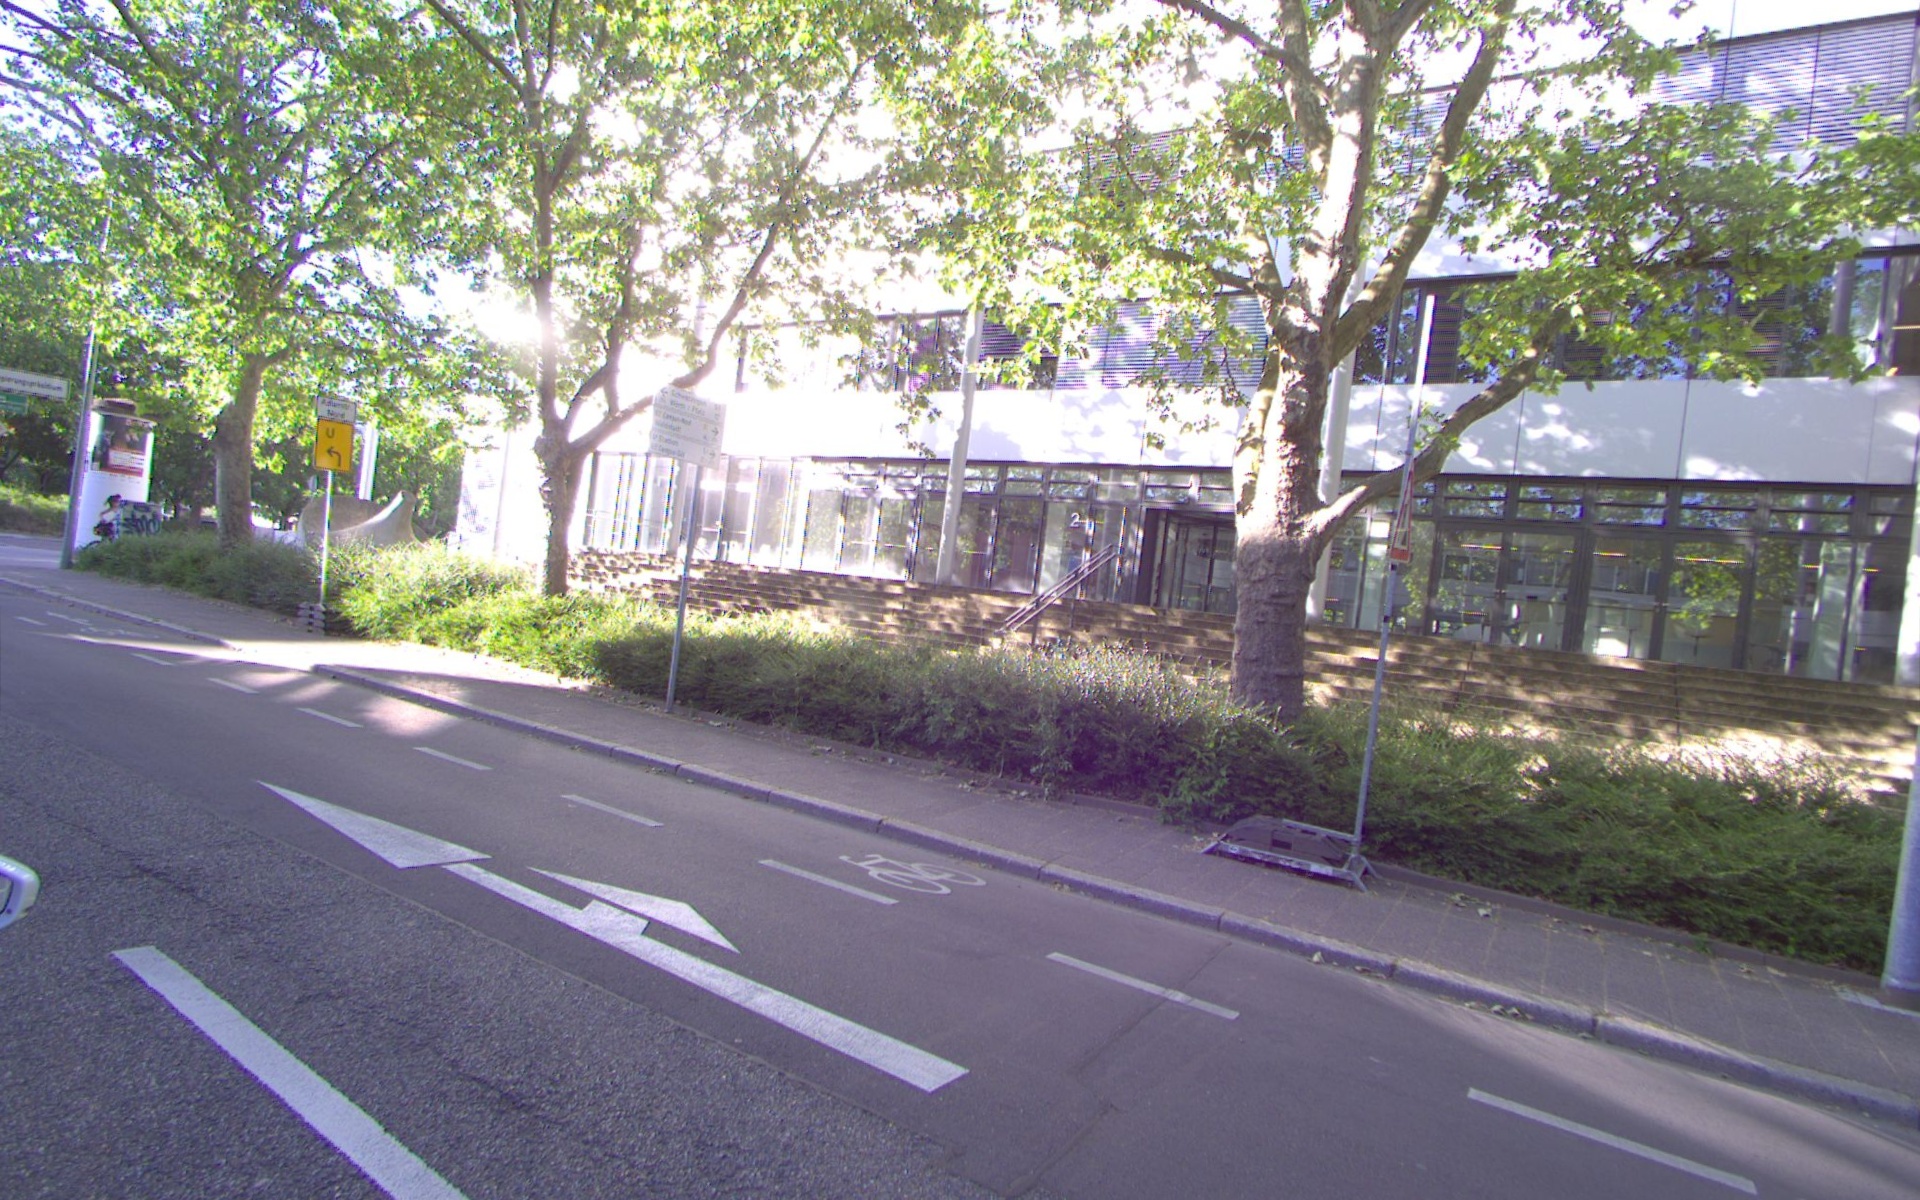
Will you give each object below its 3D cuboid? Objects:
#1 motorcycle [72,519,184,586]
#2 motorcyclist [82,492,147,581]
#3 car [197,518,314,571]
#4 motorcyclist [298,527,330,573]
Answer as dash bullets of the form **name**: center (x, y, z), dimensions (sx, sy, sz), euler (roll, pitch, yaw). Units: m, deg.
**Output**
- **motorcycle**: center (-19.225, -1.091, 23.281), dimensions (0.712, 1.257, 1.782), euler (6, -2, 37)
- **motorcyclist**: center (-19.352, -1.445, 23.033), dimensions (0.662, 1.885, 0.823), euler (6, -1, 37)
- **car**: center (-32.698, -2.558, 46.823), dimensions (1.708, 1.792, 3.996), euler (7, -1, 30)
- **motorcyclist**: center (-28.960, -2.238, 45.116), dimensions (0.370, 1.899, 0.983), euler (6, -1, 36)
